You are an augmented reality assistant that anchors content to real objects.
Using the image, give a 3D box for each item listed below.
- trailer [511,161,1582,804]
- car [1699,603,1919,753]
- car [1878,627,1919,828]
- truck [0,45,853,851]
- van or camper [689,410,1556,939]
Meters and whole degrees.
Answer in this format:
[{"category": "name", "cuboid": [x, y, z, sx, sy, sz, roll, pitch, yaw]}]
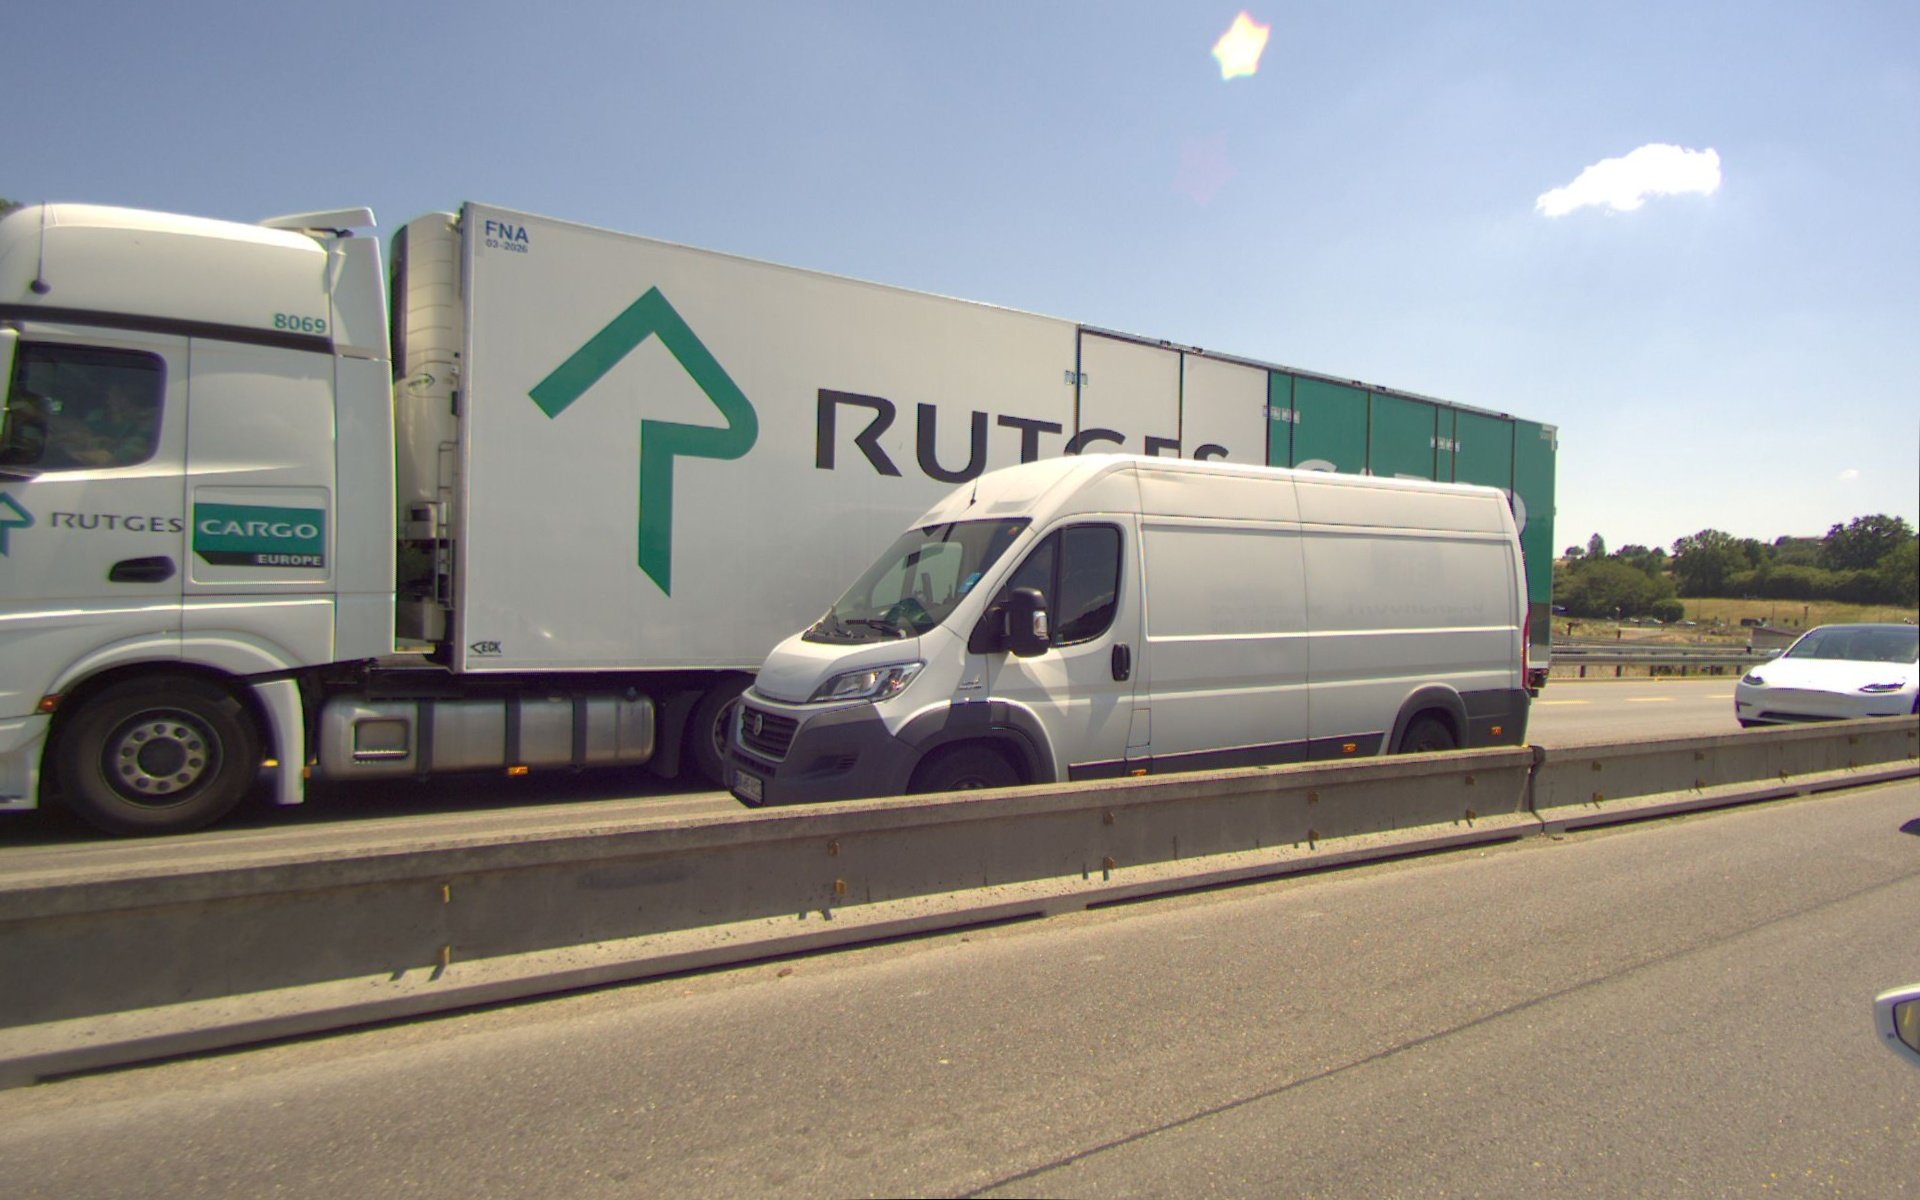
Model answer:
[{"category": "trailer", "cuboid": [2.125, -0.637, 11.541, 13.015, 4.489, 2.801, 2, -1, -31]}, {"category": "car", "cuboid": [13.377, 0.962, 14.463, 5.714, 1.749, 2.360, 1, 1, -31]}, {"category": "car", "cuboid": [9.446, 0.985, 7.977, 4.686, 1.471, 1.843, 1, 1, -30]}, {"category": "truck", "cuboid": [-4.229, -0.820, 7.816, 6.152, 4.451, 2.792, 1, 0, -31]}, {"category": "van or camper", "cuboid": [1.511, 0.361, 7.462, 6.458, 2.545, 2.207, 0, 1, -31]}]
